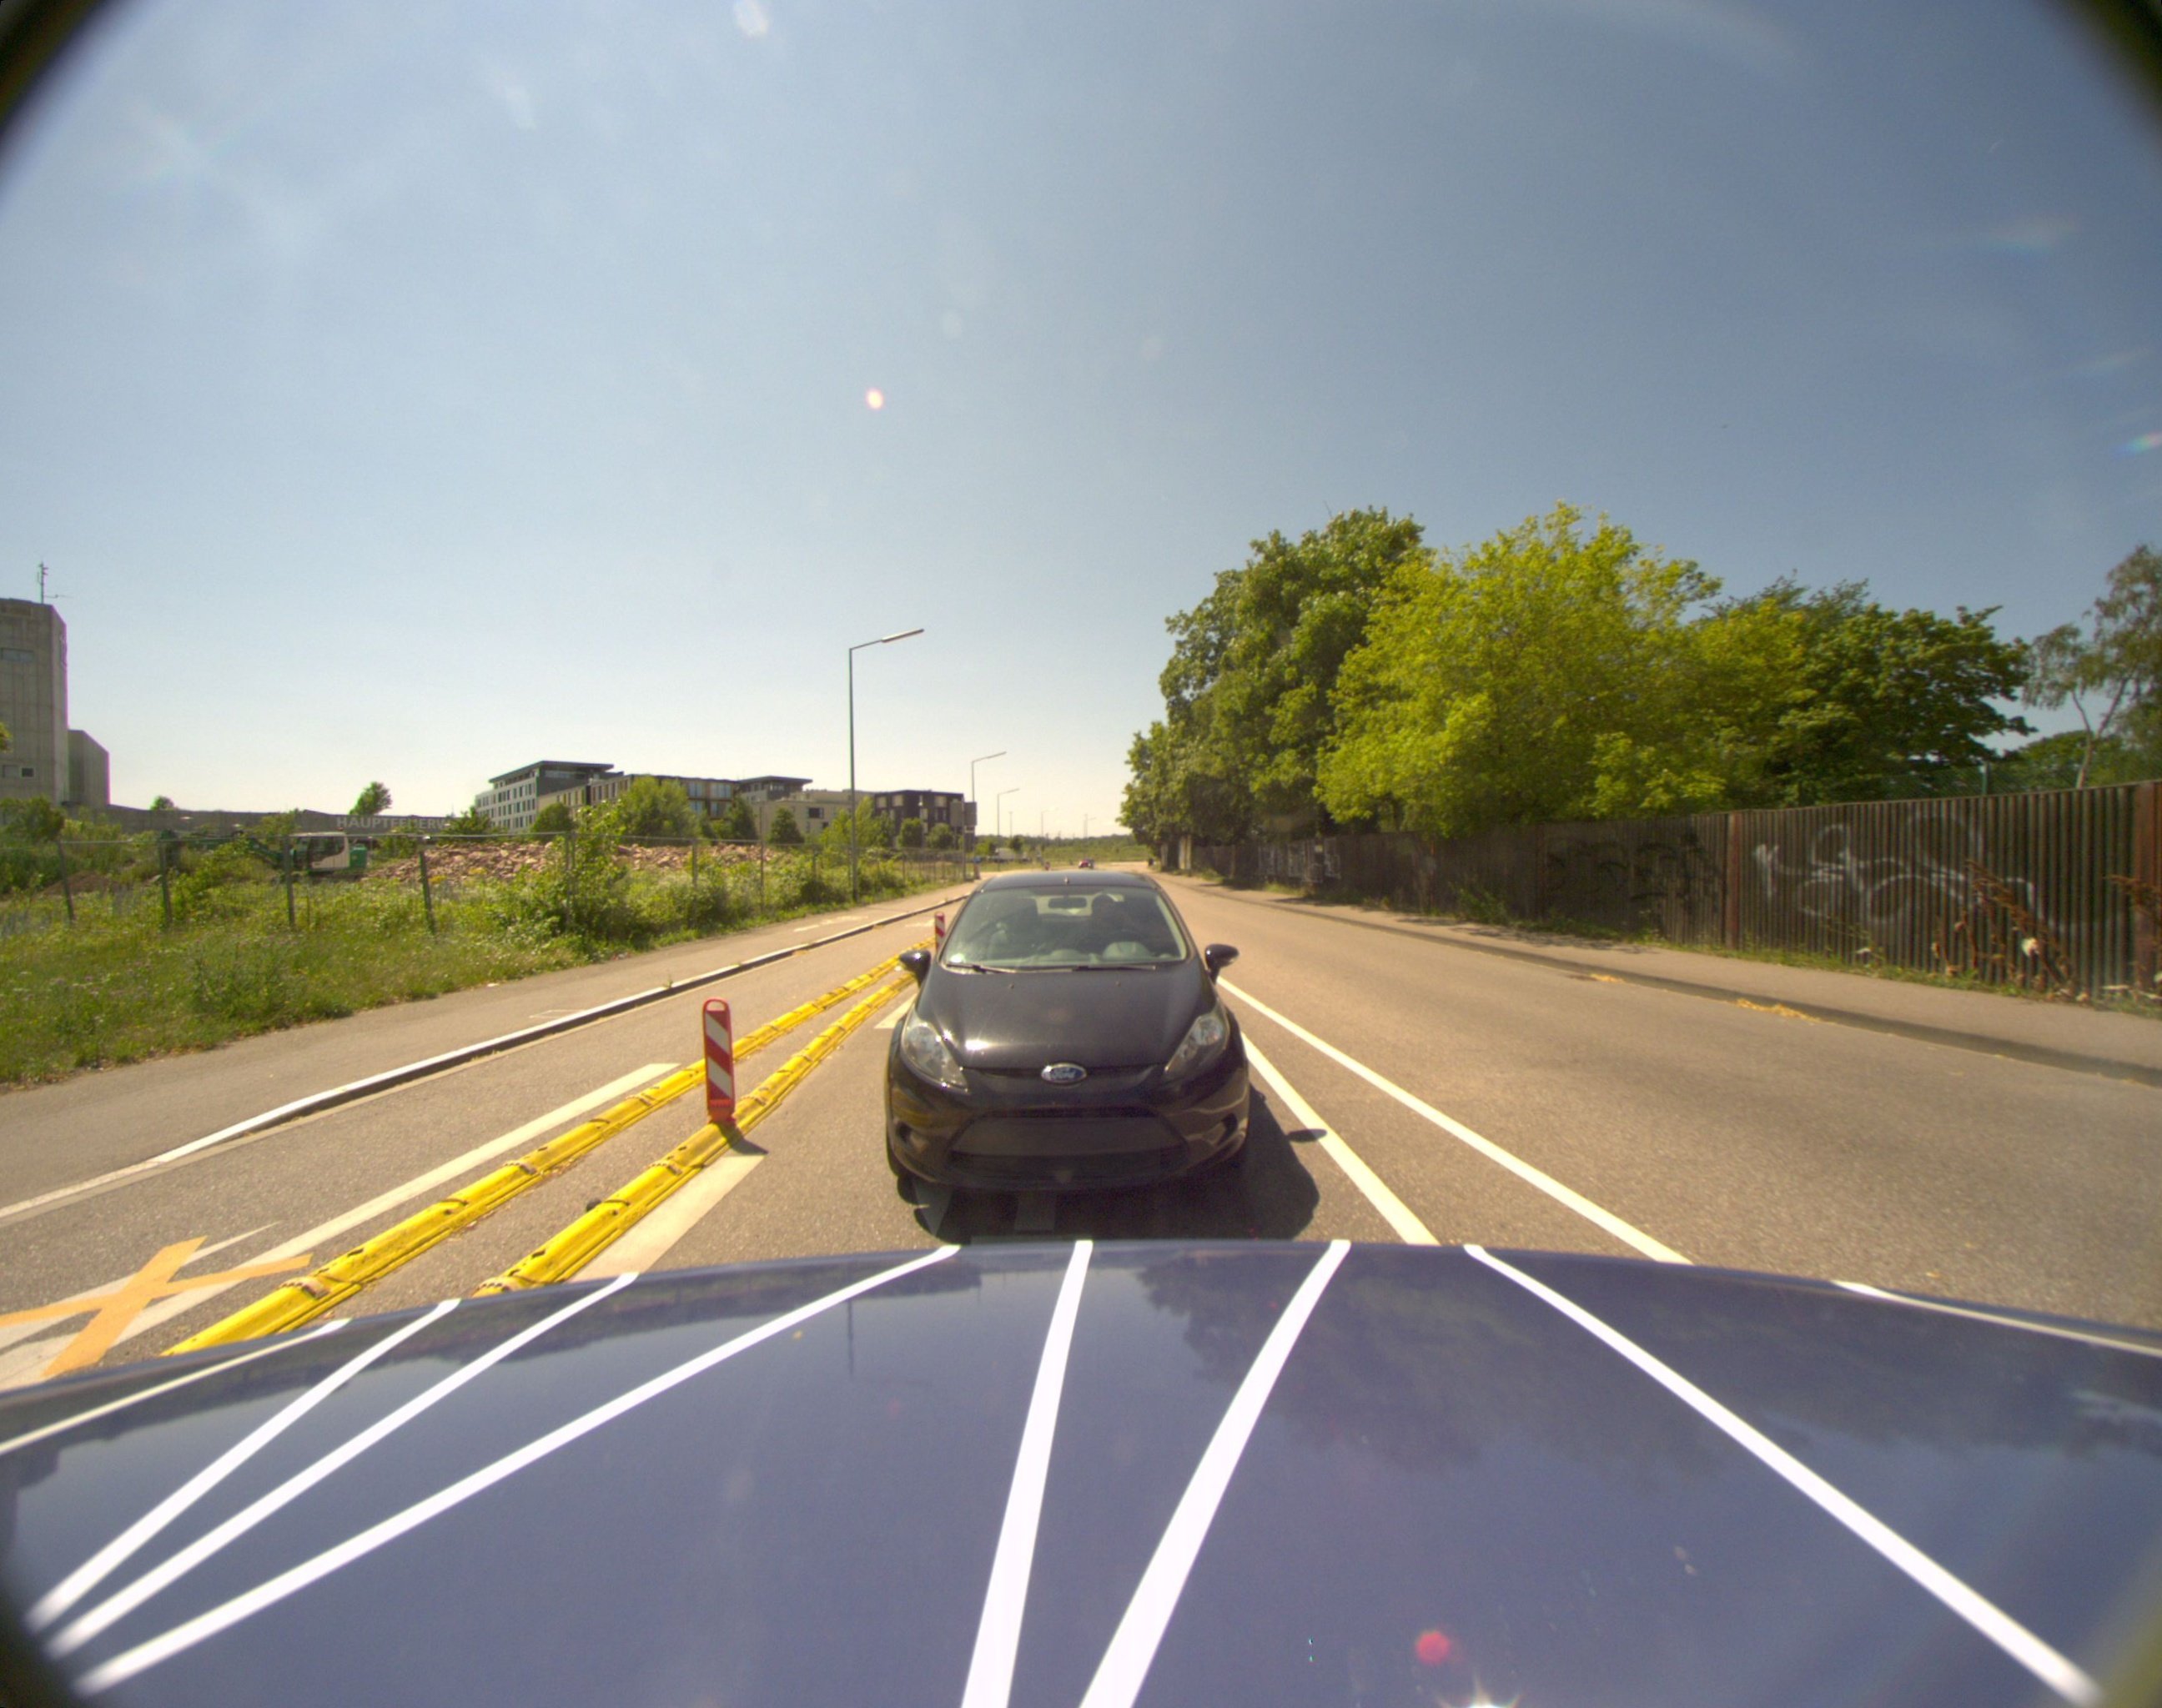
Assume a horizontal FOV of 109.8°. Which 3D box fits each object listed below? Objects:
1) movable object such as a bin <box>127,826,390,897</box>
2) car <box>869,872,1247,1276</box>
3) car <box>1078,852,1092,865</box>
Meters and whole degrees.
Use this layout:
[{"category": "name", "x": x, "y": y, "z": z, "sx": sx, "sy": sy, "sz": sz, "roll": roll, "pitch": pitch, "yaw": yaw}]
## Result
[{"category": "movable object such as a bin", "x": -38.344, "y": 0.271, "z": 35.966, "sx": 3.231, "sy": 2.899, "sz": 7.702, "roll": -2, "pitch": 1, "yaw": 15}, {"category": "car", "x": -0.068, "y": 0.977, "z": 5.188, "sx": 1.528, "sy": 1.510, "sz": 3.999, "roll": -2, "pitch": 1, "yaw": 1}, {"category": "car", "x": 0.601, "y": 0.645, "z": 111.770, "sx": 1.924, "sy": 1.643, "sz": 4.668, "roll": -2, "pitch": 1, "yaw": 1}]
